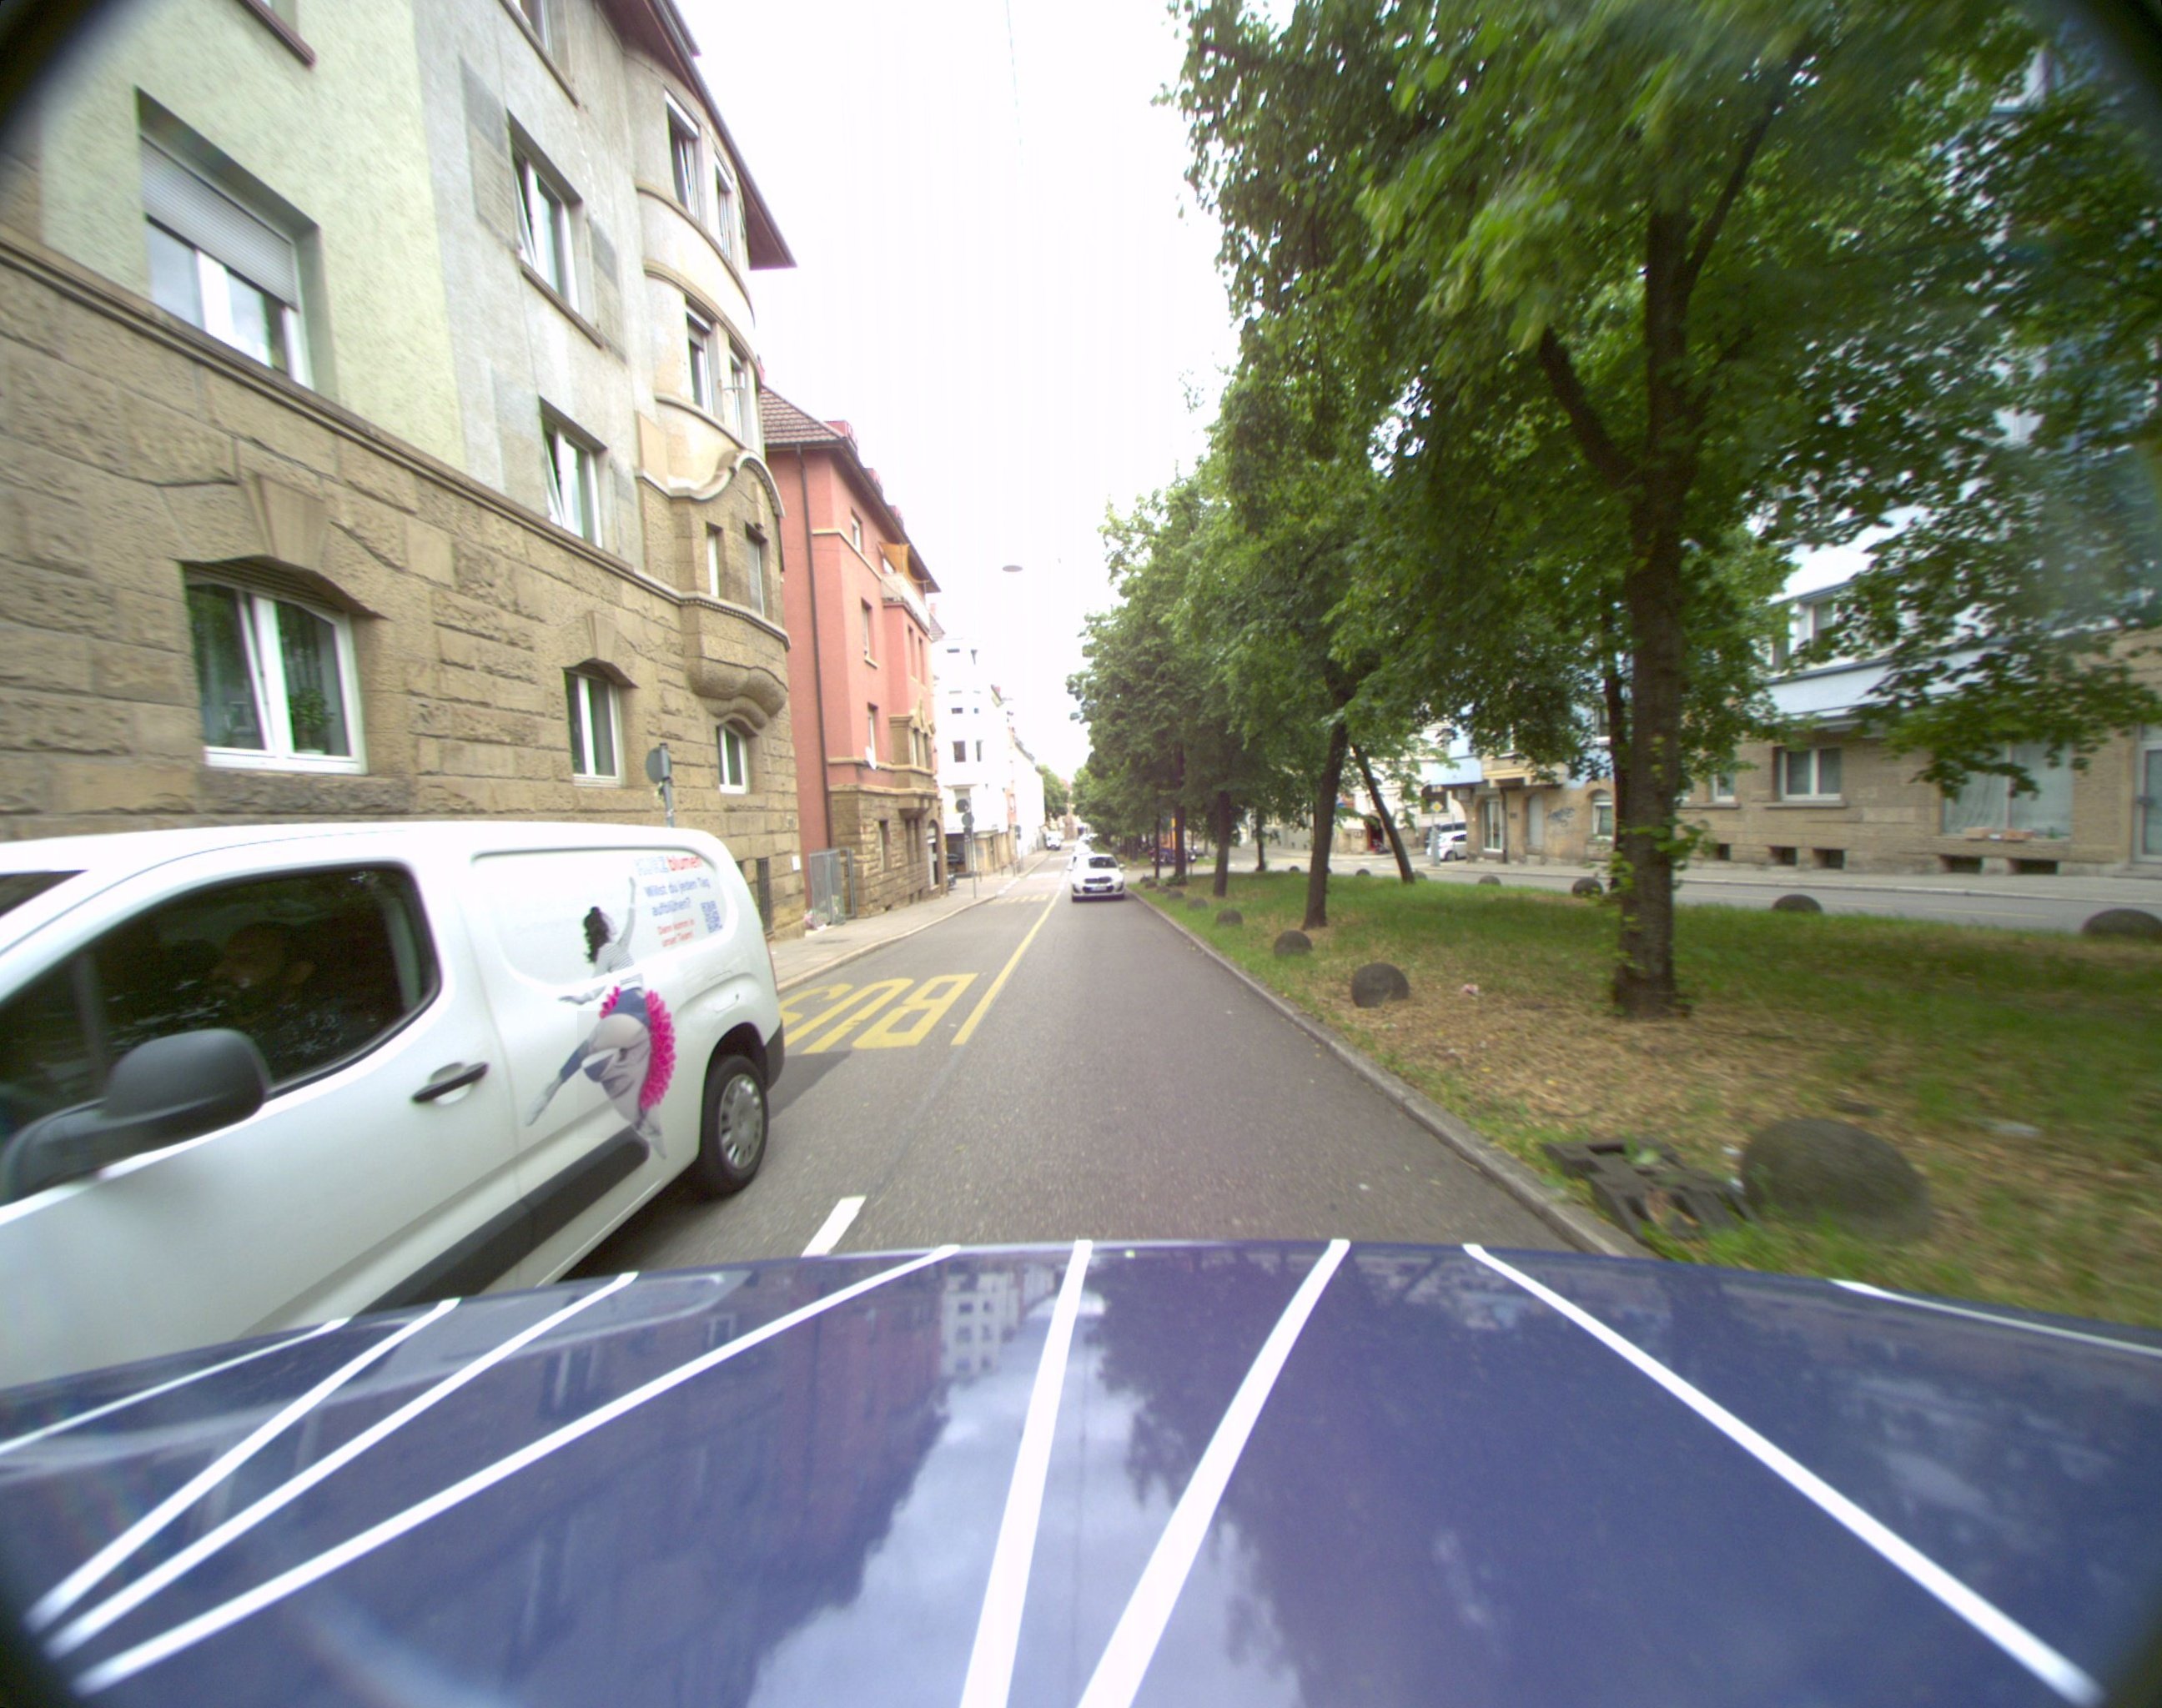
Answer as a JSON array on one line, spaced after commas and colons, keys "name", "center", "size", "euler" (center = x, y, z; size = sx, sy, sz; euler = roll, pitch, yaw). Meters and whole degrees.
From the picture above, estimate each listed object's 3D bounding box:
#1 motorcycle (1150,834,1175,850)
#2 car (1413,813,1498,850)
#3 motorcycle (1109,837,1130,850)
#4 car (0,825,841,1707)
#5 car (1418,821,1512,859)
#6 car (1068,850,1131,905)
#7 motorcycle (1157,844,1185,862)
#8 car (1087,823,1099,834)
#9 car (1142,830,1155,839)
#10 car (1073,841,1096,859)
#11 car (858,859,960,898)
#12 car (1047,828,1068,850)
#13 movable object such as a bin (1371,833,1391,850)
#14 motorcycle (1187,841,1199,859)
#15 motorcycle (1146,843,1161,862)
[{"name": "motorcycle", "center": [8.514, -1.262, 79.316], "size": [2.424, 1.475, 0.963], "euler": [-2, 4, 1]}, {"name": "car", "center": [22.545, -1.360, 45.838], "size": [4.007, 1.690, 1.871], "euler": [-8, 2, 1]}, {"name": "motorcycle", "center": [3.833, -1.041, 76.038], "size": [2.041, 1.126, 0.453], "euler": [-4, 4, 1]}, {"name": "car", "center": [-2.662, 0.899, 2.239], "size": [1.853, 1.815, 5.020], "euler": [-4, 2, 4]}, {"name": "car", "center": [20.706, -0.785, 41.053], "size": [4.008, 1.462, 1.870], "euler": [-8, 4, -2]}, {"name": "car", "center": [0.554, 0.744, 26.861], "size": [1.854, 1.595, 4.562], "euler": [-5, 0, -1]}, {"name": "motorcycle", "center": [5.932, -0.057, 50.150], "size": [1.735, 1.090, 0.550], "euler": [-4, 4, 4]}, {"name": "car", "center": [3.568, -7.394, 222.628], "size": [3.026, 3.045, 7.164], "euler": [-3, 3, -1]}, {"name": "car", "center": [11.901, -3.417, 134.753], "size": [1.818, 1.554, 4.253], "euler": [-3, 2, 0]}, {"name": "car", "center": [0.298, -0.415, 69.039], "size": [1.854, 1.361, 4.279], "euler": [-5, 2, -1]}, {"name": "car", "center": [-9.430, 1.319, 42.063], "size": [5.141, 1.541, 2.237], "euler": [-6, 2, -5]}, {"name": "car", "center": [-3.493, -2.319, 115.708], "size": [3.026, 3.045, 7.164], "euler": [-3, 3, -1]}, {"name": "movable object such as a bin", "center": [19.111, -0.817, 48.391], "size": [0.888, 0.988, 0.668], "euler": [-6, 2, -1]}, {"name": "motorcycle", "center": [7.659, -0.272, 51.900], "size": [0.750, 1.068, 1.851], "euler": [-3, 4, 7]}, {"name": "motorcycle", "center": [4.955, -0.125, 51.819], "size": [0.888, 1.090, 2.480], "euler": [-3, 4, 7]}]
